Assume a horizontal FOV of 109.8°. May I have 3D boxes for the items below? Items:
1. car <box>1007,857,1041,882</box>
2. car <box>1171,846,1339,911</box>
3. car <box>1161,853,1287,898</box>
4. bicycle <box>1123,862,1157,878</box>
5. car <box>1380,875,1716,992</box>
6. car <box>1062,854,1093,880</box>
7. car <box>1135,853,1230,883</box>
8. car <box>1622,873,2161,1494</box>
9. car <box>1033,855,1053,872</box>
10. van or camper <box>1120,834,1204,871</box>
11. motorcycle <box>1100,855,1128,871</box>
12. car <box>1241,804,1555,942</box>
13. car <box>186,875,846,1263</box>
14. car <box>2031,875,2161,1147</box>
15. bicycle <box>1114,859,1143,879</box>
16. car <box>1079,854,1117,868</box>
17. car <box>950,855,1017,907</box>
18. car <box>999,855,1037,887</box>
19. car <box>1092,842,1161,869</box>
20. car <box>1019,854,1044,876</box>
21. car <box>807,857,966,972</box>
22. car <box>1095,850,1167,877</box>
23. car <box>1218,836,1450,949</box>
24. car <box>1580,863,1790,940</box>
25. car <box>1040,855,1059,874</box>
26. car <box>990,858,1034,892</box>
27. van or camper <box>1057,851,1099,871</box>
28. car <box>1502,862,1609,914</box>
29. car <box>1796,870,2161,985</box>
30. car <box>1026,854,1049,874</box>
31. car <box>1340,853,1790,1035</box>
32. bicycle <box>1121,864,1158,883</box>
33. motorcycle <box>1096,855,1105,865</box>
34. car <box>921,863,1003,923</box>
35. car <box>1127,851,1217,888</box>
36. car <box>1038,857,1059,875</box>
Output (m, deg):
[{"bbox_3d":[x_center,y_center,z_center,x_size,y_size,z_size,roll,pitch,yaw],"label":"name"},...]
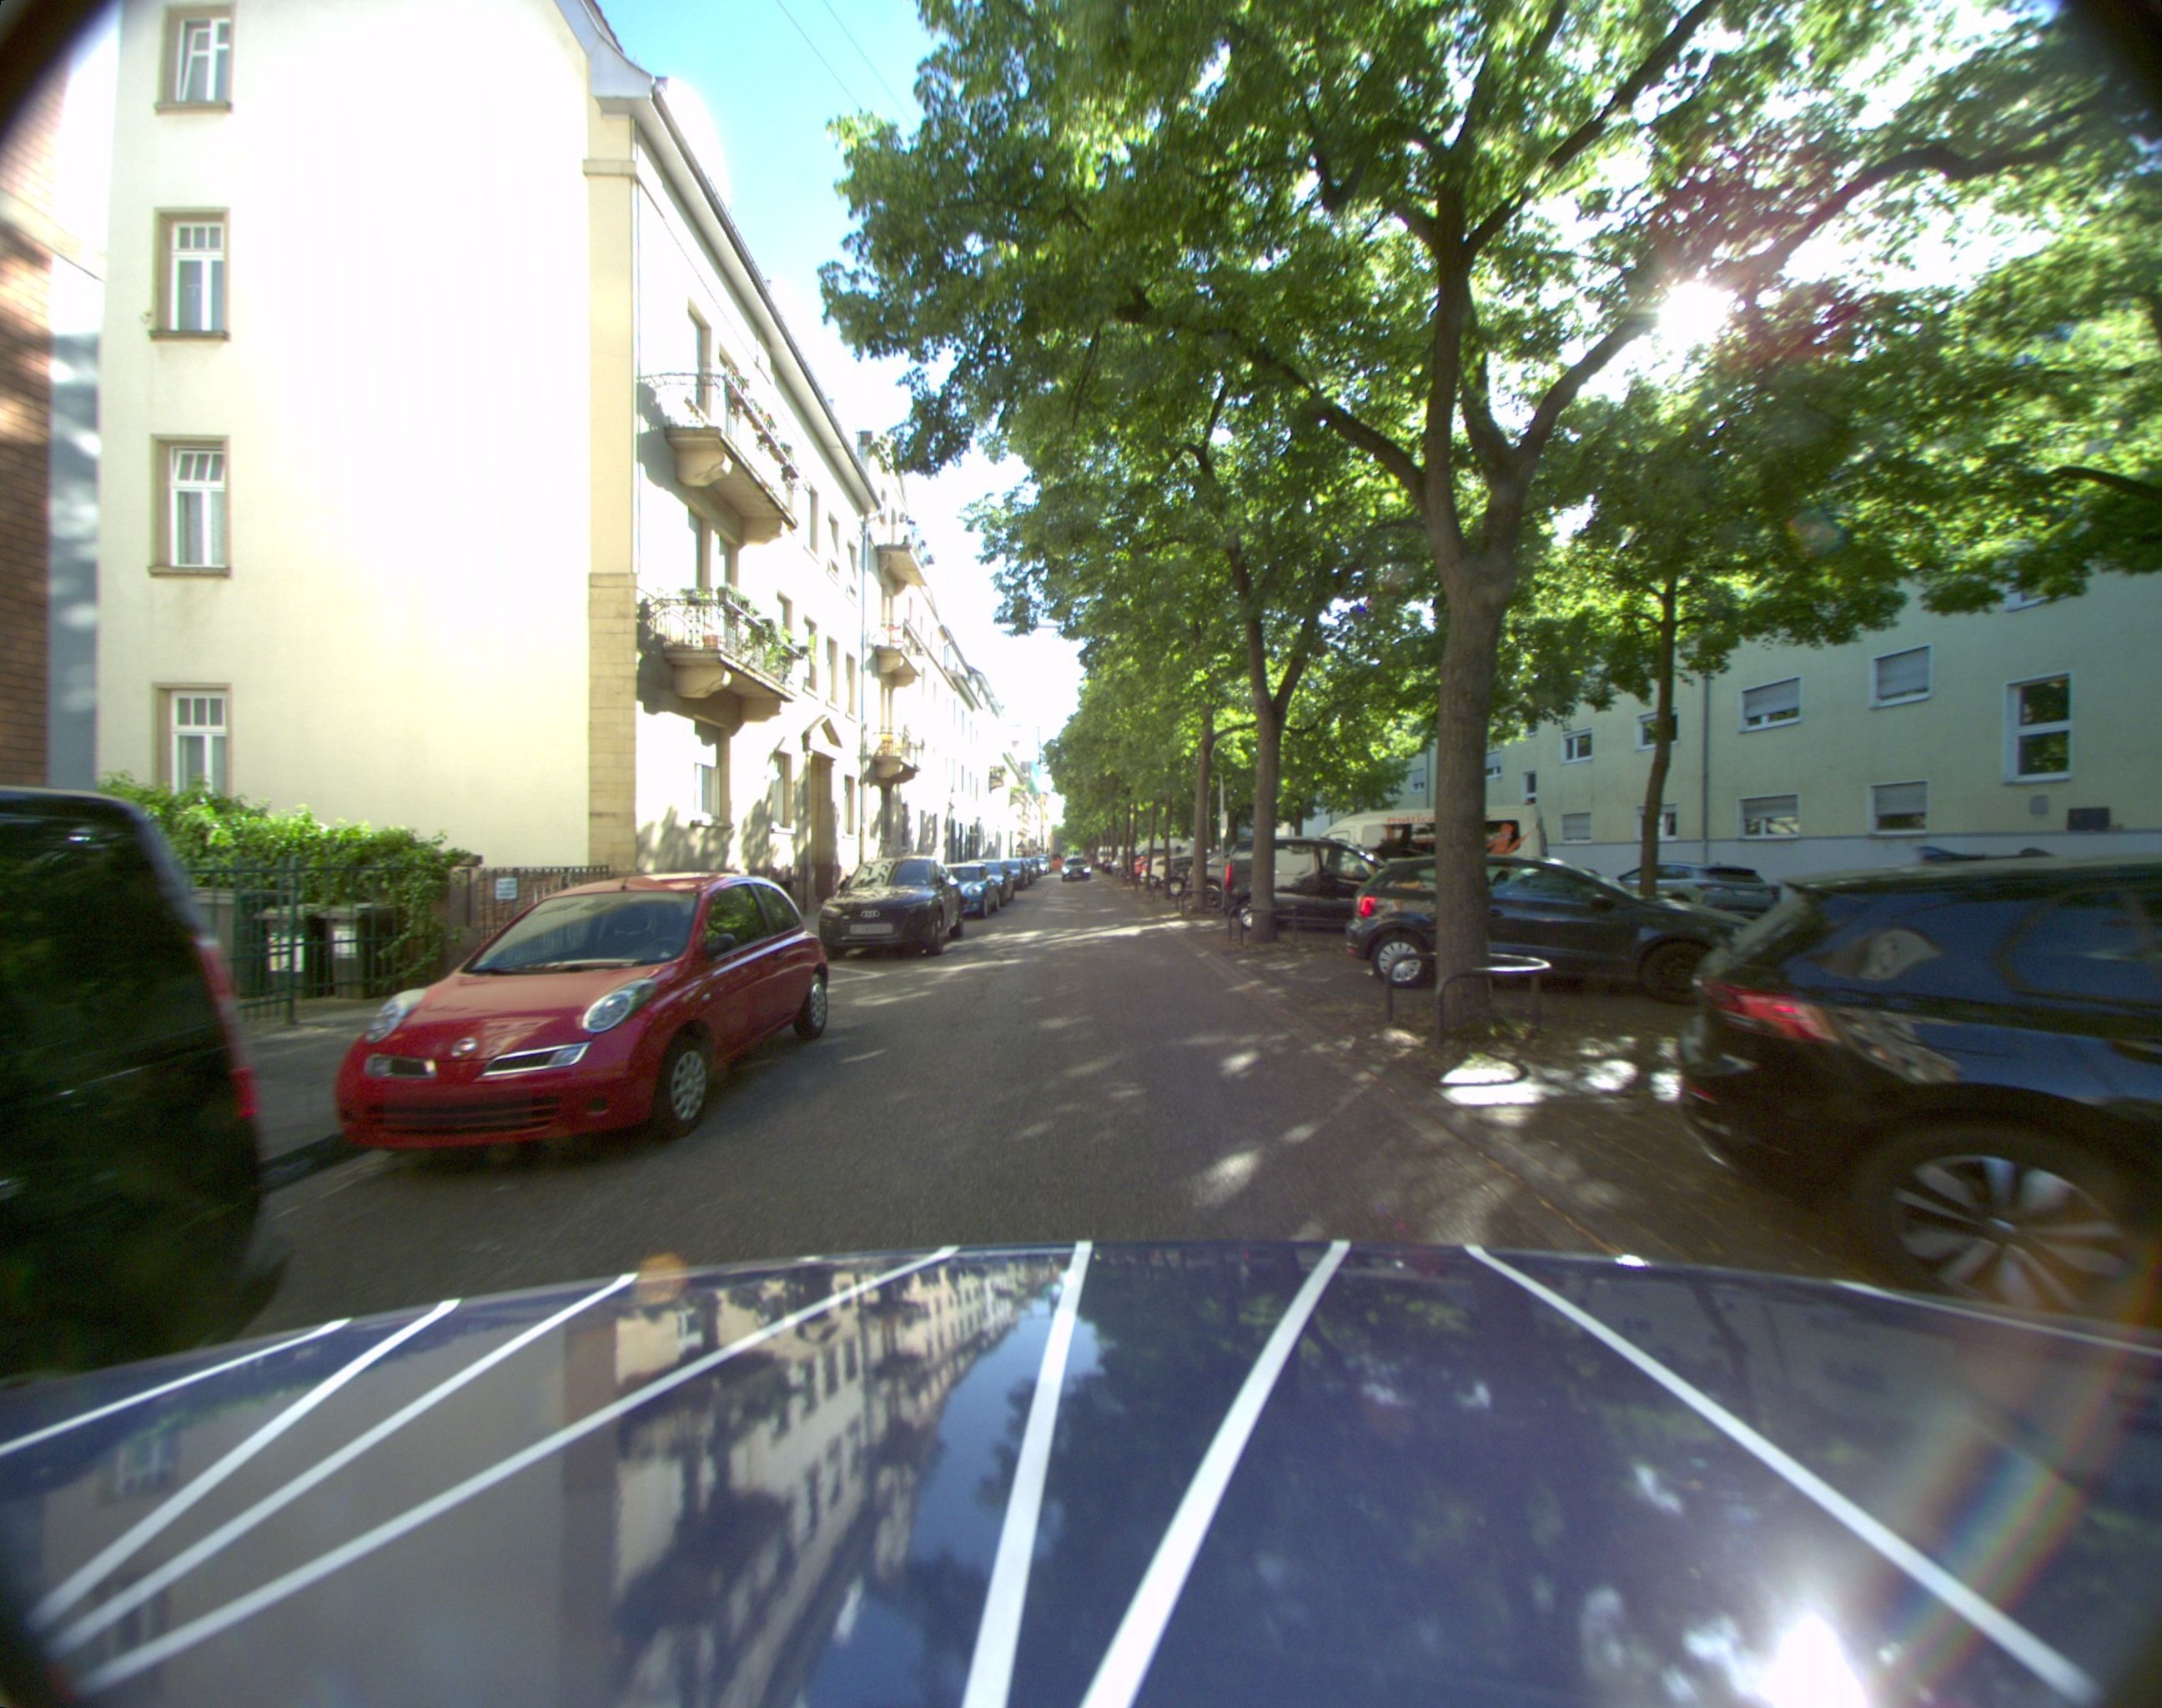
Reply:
[{"bbox_3d":[-3.486,0.923,47.293,1.774,1.423,4.290,-1,0,0],"label":"car"},{"bbox_3d":[4.844,0.670,21.330,4.264,1.632,1.658,-1,1,32],"label":"car"},{"bbox_3d":[5.098,0.719,27.241,4.098,1.473,1.735,0,1,30],"label":"car"},{"bbox_3d":[3.393,0.927,43.781,1.900,0.913,0.379,-1,1,19],"label":"bicycle"},{"bbox_3d":[6.015,0.941,10.168,3.558,1.240,1.661,0,0,29],"label":"car"},{"bbox_3d":[-0.194,0.791,47.670,1.792,1.510,4.000,1,0,2],"label":"car"},{"bbox_3d":[5.309,0.745,39.891,4.616,1.477,1.764,-1,0,35],"label":"car"},{"bbox_3d":[4.099,0.887,2.038,4.141,1.545,1.837,1,1,41],"label":"car"},{"bbox_3d":[-3.301,0.824,67.079,1.611,1.412,4.567,0,0,-1],"label":"car"},{"bbox_3d":[6.595,-0.085,61.957,6.290,2.808,2.412,-1,1,28],"label":"van or camper"},{"bbox_3d":[2.773,0.737,63.640,2.151,1.223,0.882,-4,1,8],"label":"motorcycle"},{"bbox_3d":[6.958,0.336,17.041,6.067,2.607,2.461,1,0,35],"label":"car"},{"bbox_3d":[-3.132,1.016,5.396,1.649,1.528,3.999,-3,0,-1],"label":"car"},{"bbox_3d":[7.868,0.783,3.383,4.093,1.457,1.870,-4,0,25],"label":"car"},{"bbox_3d":[2.820,0.905,45.409,1.687,1.152,0.379,-1,1,19],"label":"bicycle"},{"bbox_3d":[2.049,0.867,91.664,4.090,1.516,1.705,-4,-2,30],"label":"car"},{"bbox_3d":[-3.175,0.835,25.481,1.810,1.554,4.319,1,0,-2],"label":"car"},{"bbox_3d":[-3.387,0.888,41.433,1.772,1.542,4.183,-2,0,-1],"label":"car"},{"bbox_3d":[4.458,0.173,74.739,6.310,2.544,2.342,0,1,32],"label":"car"},{"bbox_3d":[-3.656,0.800,56.615,1.584,1.541,4.041,-1,0,1],"label":"car"},{"bbox_3d":[-3.268,0.920,13.690,1.869,1.634,4.490,-2,0,-3],"label":"car"},{"bbox_3d":[3.173,0.594,47.846,4.079,1.643,1.866,-1,0,27],"label":"car"},{"bbox_3d":[4.779,0.654,14.515,3.840,1.877,1.848,0,0,34],"label":"car"},{"bbox_3d":[15.481,1.128,19.864,1.746,1.712,4.557,1,0,-2],"label":"car"},{"bbox_3d":[-2.992,0.974,73.493,1.776,1.783,3.989,0,0,-1],"label":"car"},{"bbox_3d":[-3.226,0.957,35.961,1.696,1.459,4.004,-1,0,0],"label":"car"},{"bbox_3d":[-0.433,1.113,117.154,6.017,2.984,2.404,1,0,28],"label":"van or camper"},{"bbox_3d":[15.870,1.092,25.589,1.478,1.550,3.183,-2,0,-2],"label":"car"},{"bbox_3d":[15.525,1.107,13.229,1.776,1.508,4.591,-2,0,-1],"label":"car"},{"bbox_3d":[-3.549,0.772,62.680,1.603,1.484,3.966,3,1,1],"label":"car"},{"bbox_3d":[4.884,0.789,8.186,3.728,1.572,1.639,0,1,28],"label":"car"},{"bbox_3d":[2.991,0.990,38.645,1.813,0.988,0.426,0,1,15],"label":"bicycle"},{"bbox_3d":[2.517,0.747,97.204,0.631,1.317,2.231,0,0,15],"label":"motorcycle"},{"bbox_3d":[-3.157,0.994,20.757,1.594,1.407,3.632,-2,0,1],"label":"car"},{"bbox_3d":[4.141,0.710,34.727,3.685,1.587,1.775,-1,0,25],"label":"car"},{"bbox_3d":[-3.329,1.198,78.824,1.709,1.502,4.283,13,0,0],"label":"car"}]
